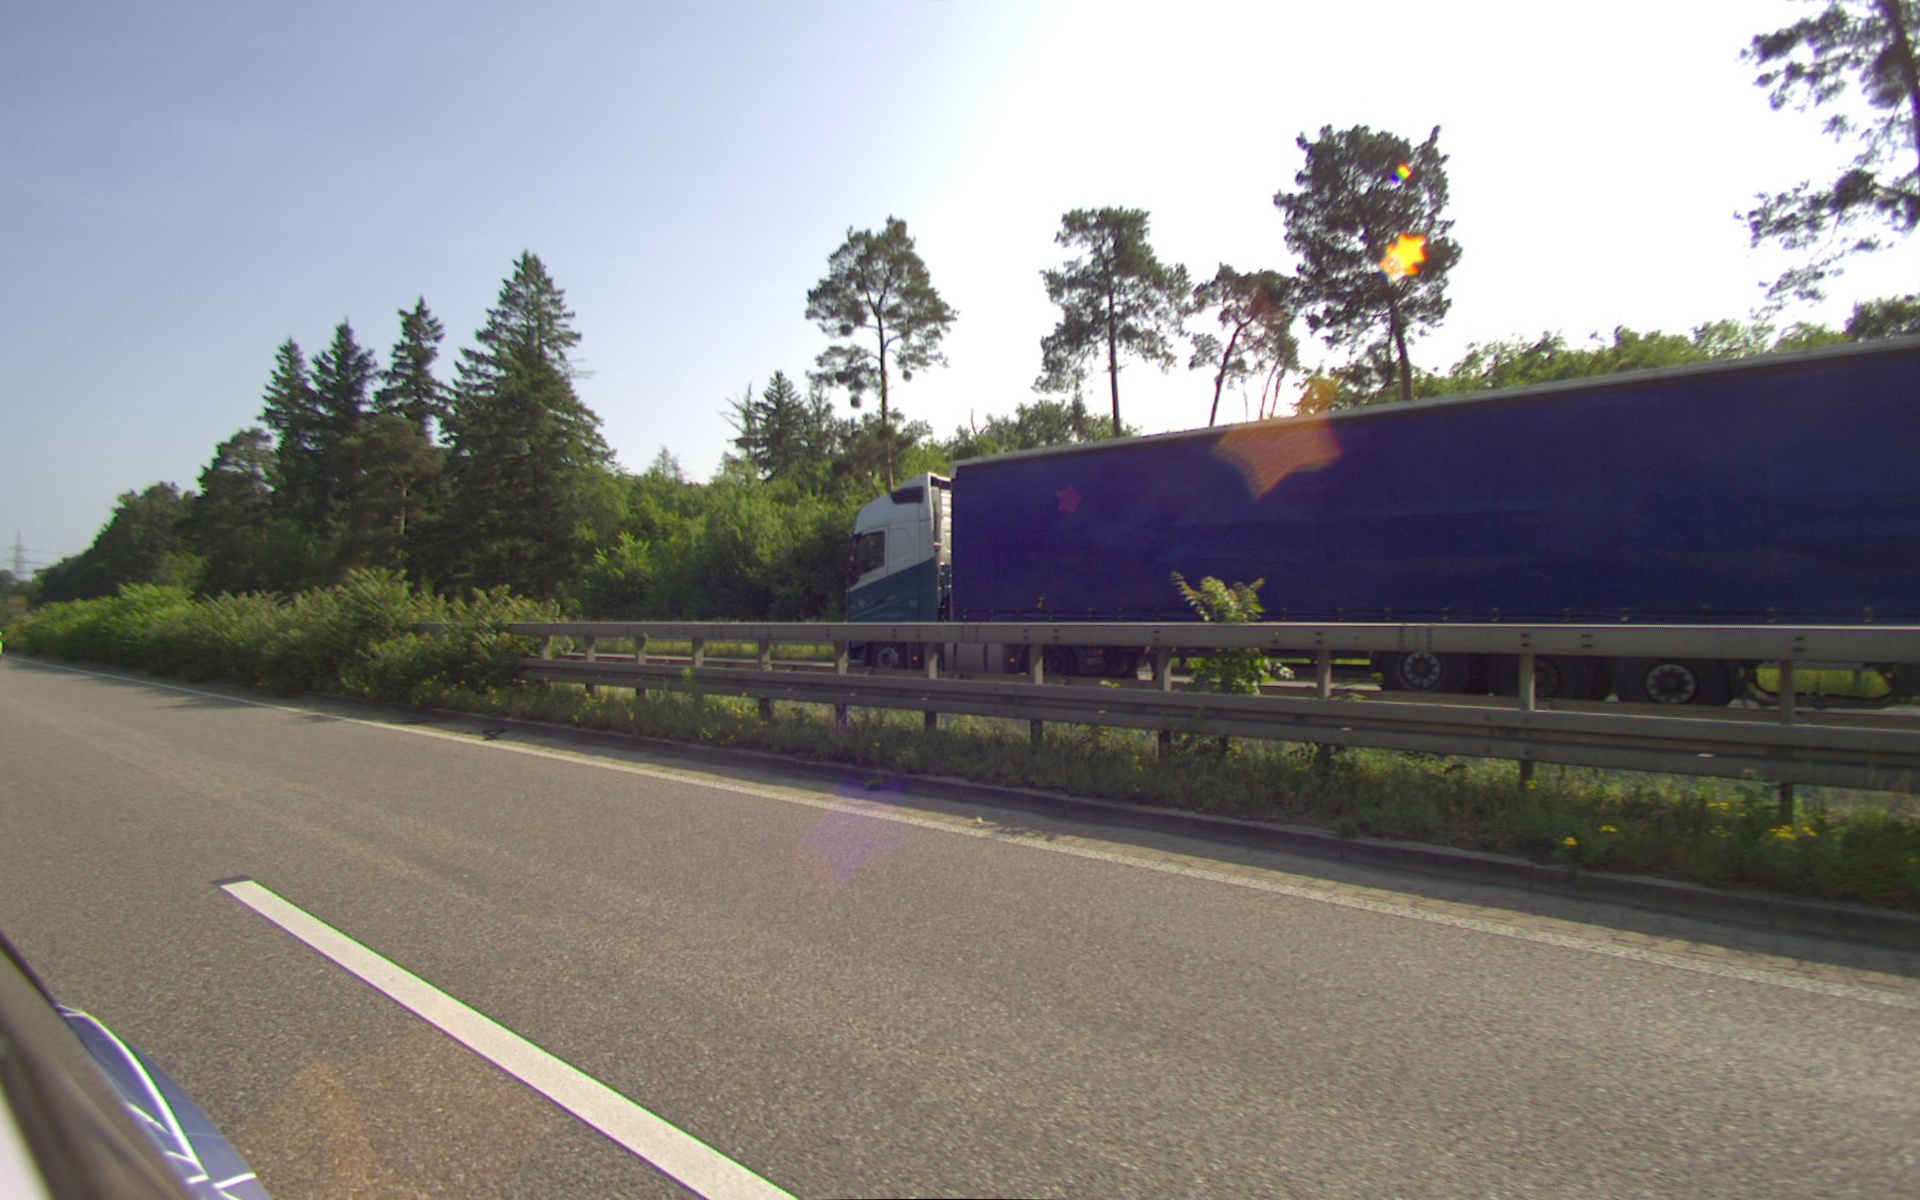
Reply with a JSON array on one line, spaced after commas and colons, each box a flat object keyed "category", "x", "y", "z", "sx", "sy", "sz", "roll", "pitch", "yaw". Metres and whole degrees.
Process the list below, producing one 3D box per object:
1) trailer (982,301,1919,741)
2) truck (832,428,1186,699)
[{"category": "trailer", "x": 6.188, "y": -0.647, "z": 14.103, "sx": 13.072, "sy": 4.232, "sz": 2.664, "roll": -1, "pitch": -2, "yaw": 41}, {"category": "truck", "x": 0.719, "y": -0.499, "z": 18.842, "sx": 6.289, "sy": 4.232, "sz": 2.681, "roll": -1, "pitch": -2, "yaw": 41}]
